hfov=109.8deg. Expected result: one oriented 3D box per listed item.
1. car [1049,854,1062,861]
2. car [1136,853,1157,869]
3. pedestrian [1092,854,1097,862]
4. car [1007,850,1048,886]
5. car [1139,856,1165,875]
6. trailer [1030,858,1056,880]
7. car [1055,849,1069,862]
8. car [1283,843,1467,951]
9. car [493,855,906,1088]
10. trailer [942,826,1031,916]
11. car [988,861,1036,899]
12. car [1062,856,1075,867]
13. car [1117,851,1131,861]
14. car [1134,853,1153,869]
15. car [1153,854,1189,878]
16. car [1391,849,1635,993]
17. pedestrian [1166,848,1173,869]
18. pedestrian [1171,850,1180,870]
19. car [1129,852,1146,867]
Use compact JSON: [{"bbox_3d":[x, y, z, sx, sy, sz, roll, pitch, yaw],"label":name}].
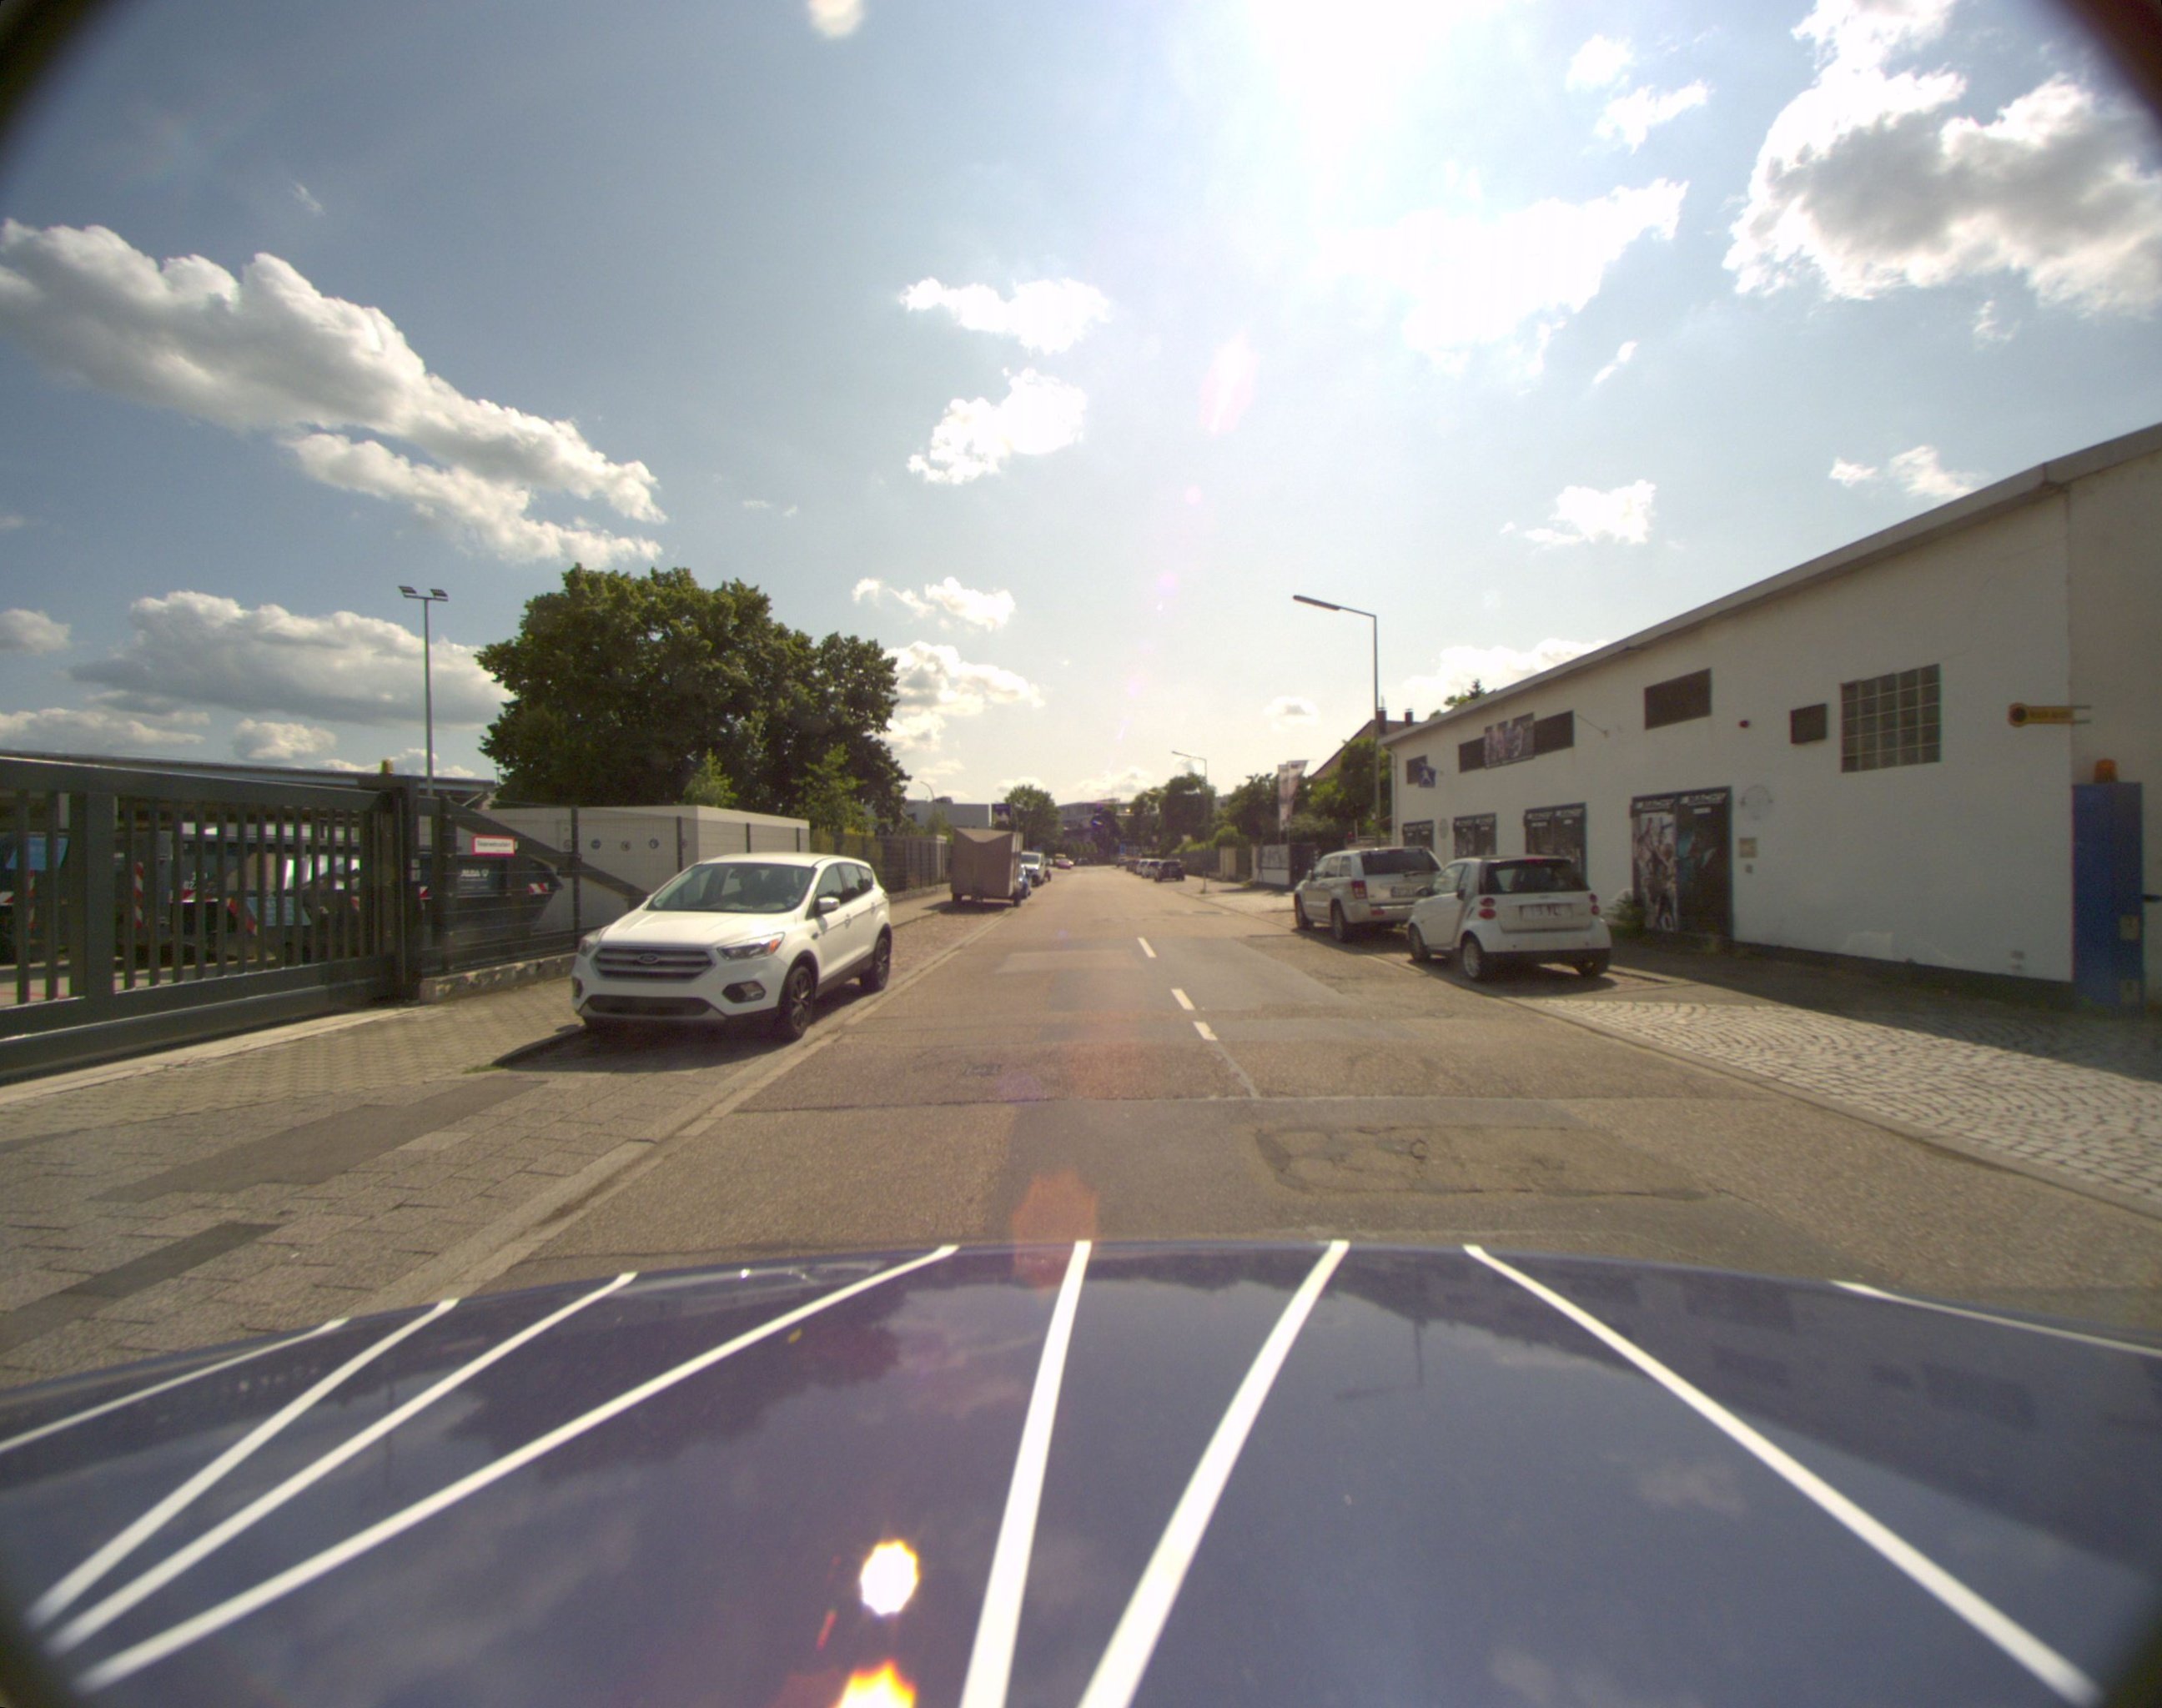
[{"bbox_3d":[-5.094,0.696,149.891,1.839,1.484,4.650,0,0,-12],"label":"car"},{"bbox_3d":[6.310,0.665,73.415,1.649,1.469,4.028,-1,1,0],"label":"car"},{"bbox_3d":[2.885,0.913,164.765,0.845,1.682,0.830,-3,1,-8],"label":"pedestrian"},{"bbox_3d":[-3.117,0.772,45.703,1.998,2.002,5.649,0,0,1],"label":"car"},{"bbox_3d":[5.923,0.942,63.931,1.625,1.513,4.174,-1,0,-2],"label":"car"},{"bbox_3d":[-2.833,1.083,55.748,1.754,1.409,4.547,2,1,-4],"label":"trailer"},{"bbox_3d":[-3.454,0.233,138.061,2.163,2.450,6.635,0,0,-5],"label":"car"},{"bbox_3d":[5.589,0.713,15.181,1.795,1.709,4.751,-3,0,1],"label":"car"},{"bbox_3d":[-3.408,0.886,8.050,1.940,1.683,4.679,2,0,1],"label":"car"},{"bbox_3d":[-3.114,0.487,26.540,2.210,2.721,6.221,2,1,0],"label":"trailer"},{"bbox_3d":[-2.937,1.091,33.116,1.695,1.452,4.070,1,1,0],"label":"car"},{"bbox_3d":[-1.910,1.146,113.797,1.758,1.478,4.224,2,0,1],"label":"car"},{"bbox_3d":[6.988,0.317,124.771,1.762,1.565,4.475,-2,1,-3],"label":"car"},{"bbox_3d":[6.371,0.676,78.131,1.670,1.458,3.743,-3,1,2],"label":"car"},{"bbox_3d":[6.063,0.776,51.716,1.810,1.410,4.496,-3,0,0],"label":"car"},{"bbox_3d":[5.621,0.778,10.324,1.613,1.565,3.009,-4,0,3],"label":"car"},{"bbox_3d":[7.949,0.426,68.259,0.452,1.883,0.677,-1,1,1],"label":"pedestrian"},{"bbox_3d":[8.542,0.555,68.519,0.710,1.791,0.916,-1,1,1],"label":"pedestrian"},{"bbox_3d":[6.686,0.600,90.255,1.655,1.636,3.273,-4,0,-1],"label":"car"}]
